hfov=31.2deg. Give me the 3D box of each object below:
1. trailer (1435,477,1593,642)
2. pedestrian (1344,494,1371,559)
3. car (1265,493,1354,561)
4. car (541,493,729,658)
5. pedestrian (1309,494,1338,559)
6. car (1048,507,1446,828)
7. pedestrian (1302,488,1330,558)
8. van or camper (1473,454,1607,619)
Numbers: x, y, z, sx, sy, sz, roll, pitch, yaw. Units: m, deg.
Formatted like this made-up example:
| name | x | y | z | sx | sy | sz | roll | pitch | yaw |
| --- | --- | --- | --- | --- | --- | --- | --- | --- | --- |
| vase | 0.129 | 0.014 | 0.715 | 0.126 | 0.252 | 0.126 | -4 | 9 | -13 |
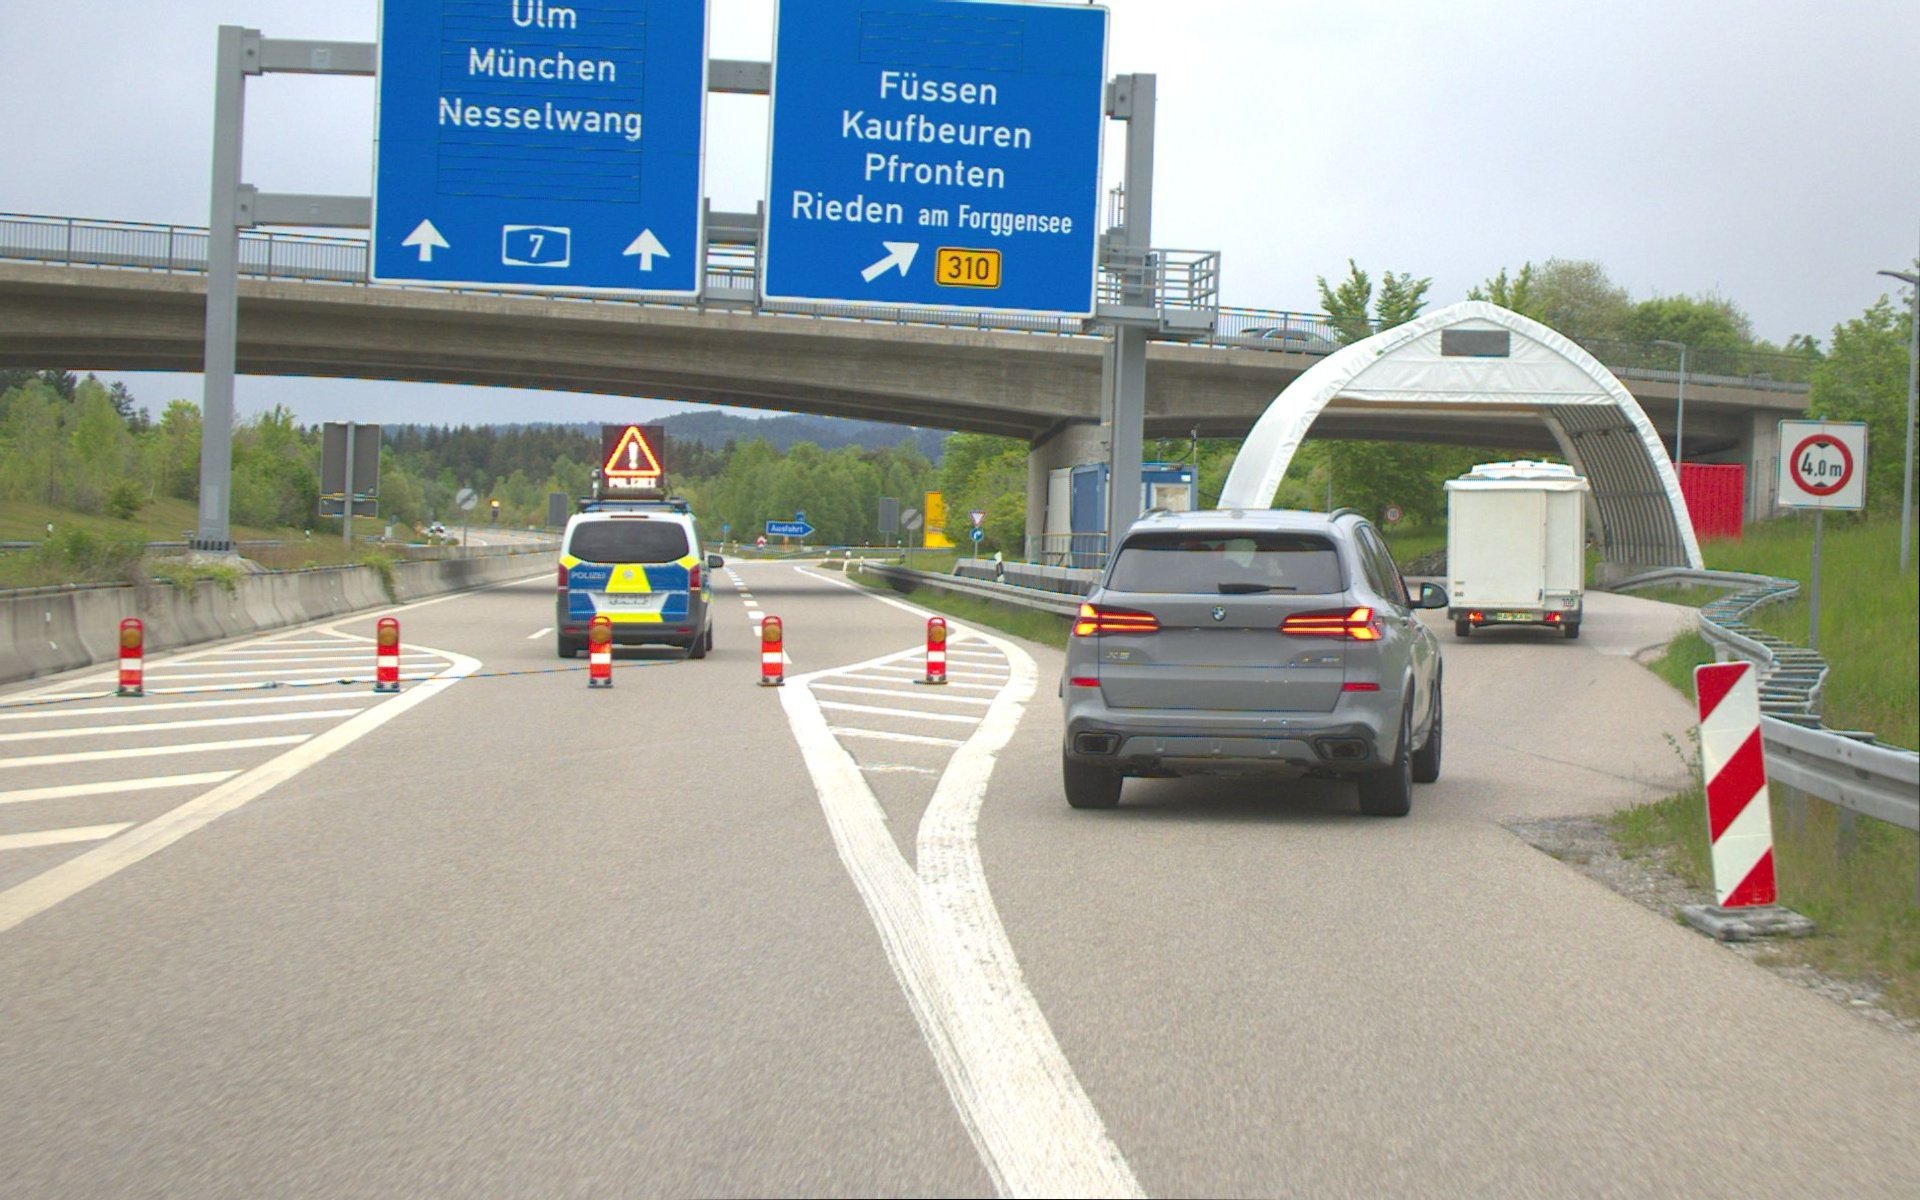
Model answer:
| name | x | y | z | sx | sy | sz | roll | pitch | yaw |
| --- | --- | --- | --- | --- | --- | --- | --- | --- | --- |
| trailer | 8.739 | -0.636 | 54.404 | 2.280 | 2.422 | 6.815 | 1 | 1 | 9 |
| pedestrian | 10.979 | -2.029 | 94.937 | 0.648 | 1.769 | 0.606 | 0 | 1 | -1 |
| car | 9.301 | -1.957 | 91.709 | 1.993 | 1.766 | 3.766 | 0 | 1 | 0 |
| car | -4.250 | -0.378 | 45.145 | 2.285 | 2.006 | 5.051 | 1 | 2 | -5 |
| pedestrian | 9.942 | -2.015 | 94.040 | 0.720 | 1.769 | 0.690 | 0 | 1 | 1 |
| car | 1.833 | 0.330 | 20.715 | 1.994 | 1.713 | 3.998 | 1 | 1 | 10 |
| pedestrian | 9.844 | -2.125 | 95.085 | 0.720 | 1.939 | 0.690 | 0 | 1 | 1 |
| van or camper | 10.179 | -1.095 | 60.662 | 2.157 | 2.754 | 5.869 | 1 | 1 | 8 |
